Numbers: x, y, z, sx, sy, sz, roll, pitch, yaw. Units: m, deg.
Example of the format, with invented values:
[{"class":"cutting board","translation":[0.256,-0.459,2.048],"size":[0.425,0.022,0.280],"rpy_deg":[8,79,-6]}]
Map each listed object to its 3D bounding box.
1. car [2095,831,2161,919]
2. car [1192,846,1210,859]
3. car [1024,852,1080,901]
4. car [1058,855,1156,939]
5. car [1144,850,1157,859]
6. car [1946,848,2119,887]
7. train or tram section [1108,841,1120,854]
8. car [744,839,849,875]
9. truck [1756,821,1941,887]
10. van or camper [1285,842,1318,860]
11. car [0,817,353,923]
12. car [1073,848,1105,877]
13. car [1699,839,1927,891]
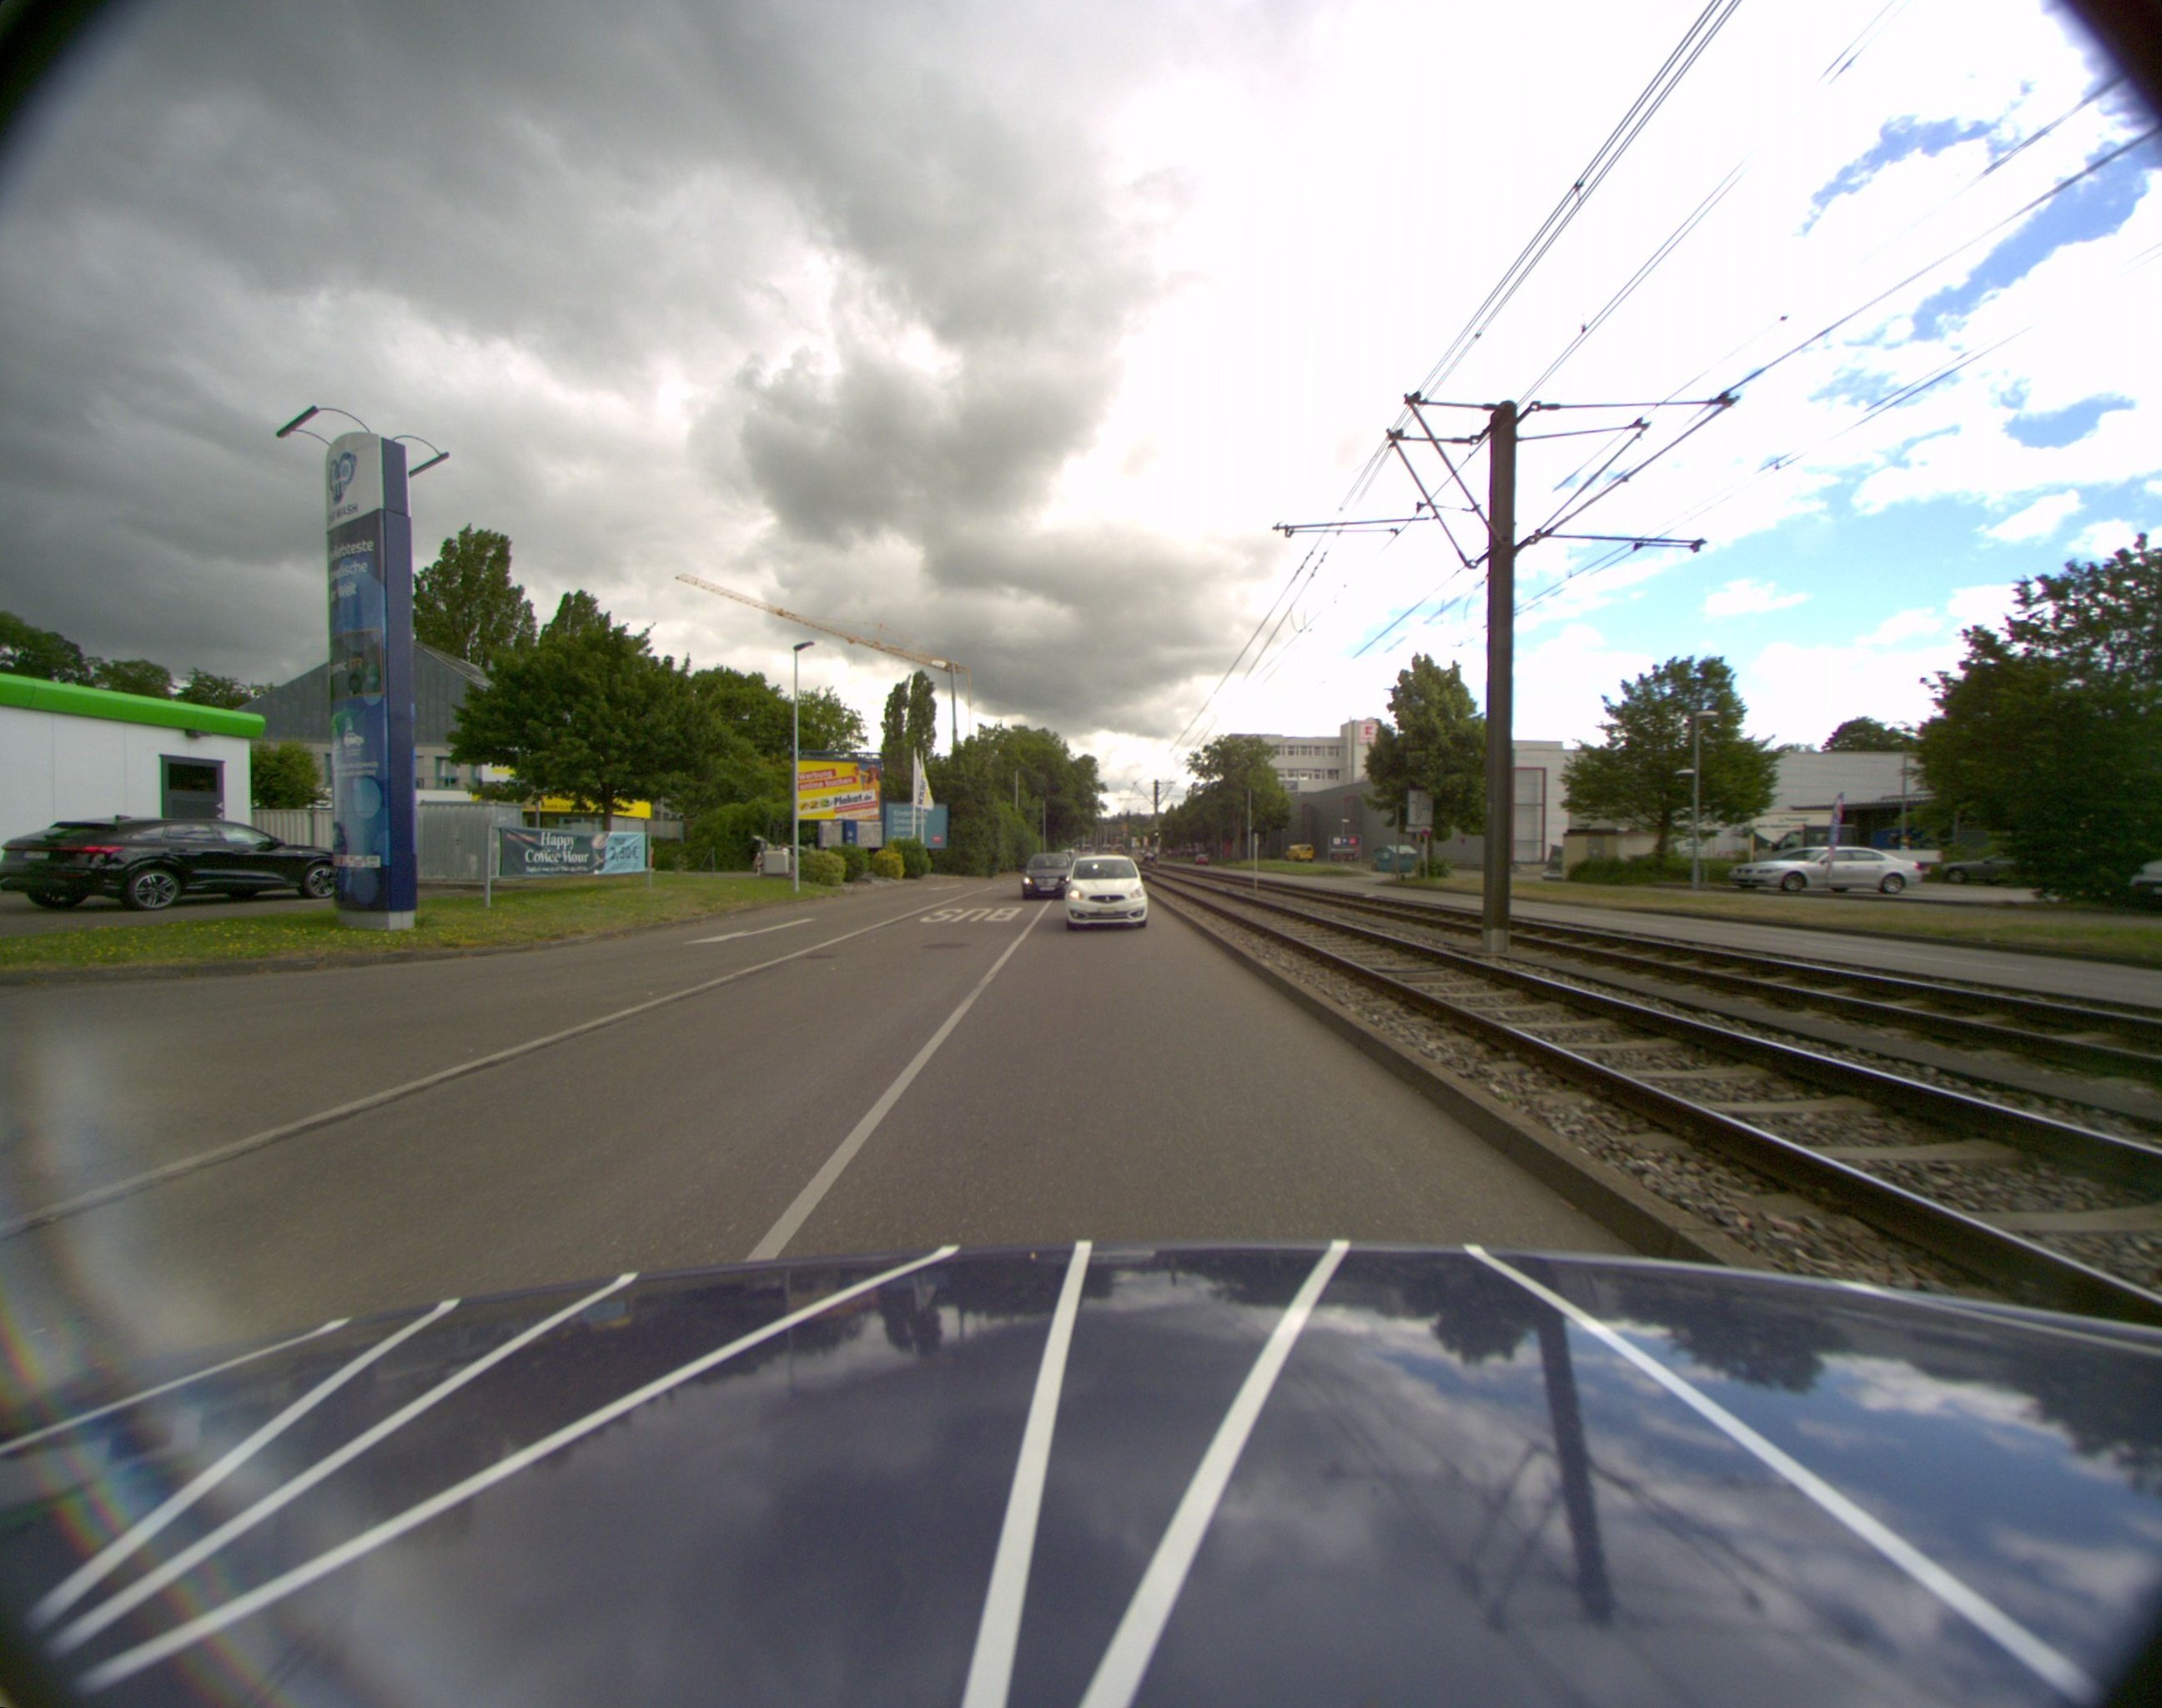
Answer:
[{"class":"car","translation":[23.237,0.419,14.845],"size":[4.231,1.717,1.995],"rpy_deg":[0,0,-1]},{"class":"car","translation":[16.373,-0.213,104.093],"size":[1.797,1.761,3.999],"rpy_deg":[0,1,-1]},{"class":"car","translation":[-0.944,0.730,26.627],"size":[1.714,1.586,4.000],"rpy_deg":[-1,0,1]},{"class":"car","translation":[0.484,0.801,15.970],"size":[1.765,1.469,4.030],"rpy_deg":[-2,0,0]},{"class":"car","translation":[12.107,0.070,132.720],"size":[1.763,1.393,4.443],"rpy_deg":[2,0,0]},{"class":"car","translation":[37.078,0.483,29.796],"size":[1.614,1.392,3.998],"rpy_deg":[0,1,-5]},{"class":"train or tram section","translation":[9.886,-1.817,226.786],"size":[2.778,3.753,13.784],"rpy_deg":[-1,0,-1]},{"class":"car","translation":[-13.413,0.144,36.150],"size":[4.029,1.646,2.944],"rpy_deg":[0,1,-6]},{"class":"truck","translation":[29.964,-0.015,29.992],"size":[1.998,2.369,5.264],"rpy_deg":[0,0,1]},{"class":"van or camper","translation":[25.379,-0.381,87.547],"size":[2.109,2.002,5.241],"rpy_deg":[-1,0,-3]},{"class":"car","translation":[-16.911,0.208,14.450],"size":[1.824,1.665,4.337],"rpy_deg":[2,1,3]},{"class":"car","translation":[0.456,0.460,43.725],"size":[1.693,1.521,4.000],"rpy_deg":[-2,1,1]},{"class":"car","translation":[23.540,0.346,24.638],"size":[4.793,1.619,2.652],"rpy_deg":[0,0,2]}]
